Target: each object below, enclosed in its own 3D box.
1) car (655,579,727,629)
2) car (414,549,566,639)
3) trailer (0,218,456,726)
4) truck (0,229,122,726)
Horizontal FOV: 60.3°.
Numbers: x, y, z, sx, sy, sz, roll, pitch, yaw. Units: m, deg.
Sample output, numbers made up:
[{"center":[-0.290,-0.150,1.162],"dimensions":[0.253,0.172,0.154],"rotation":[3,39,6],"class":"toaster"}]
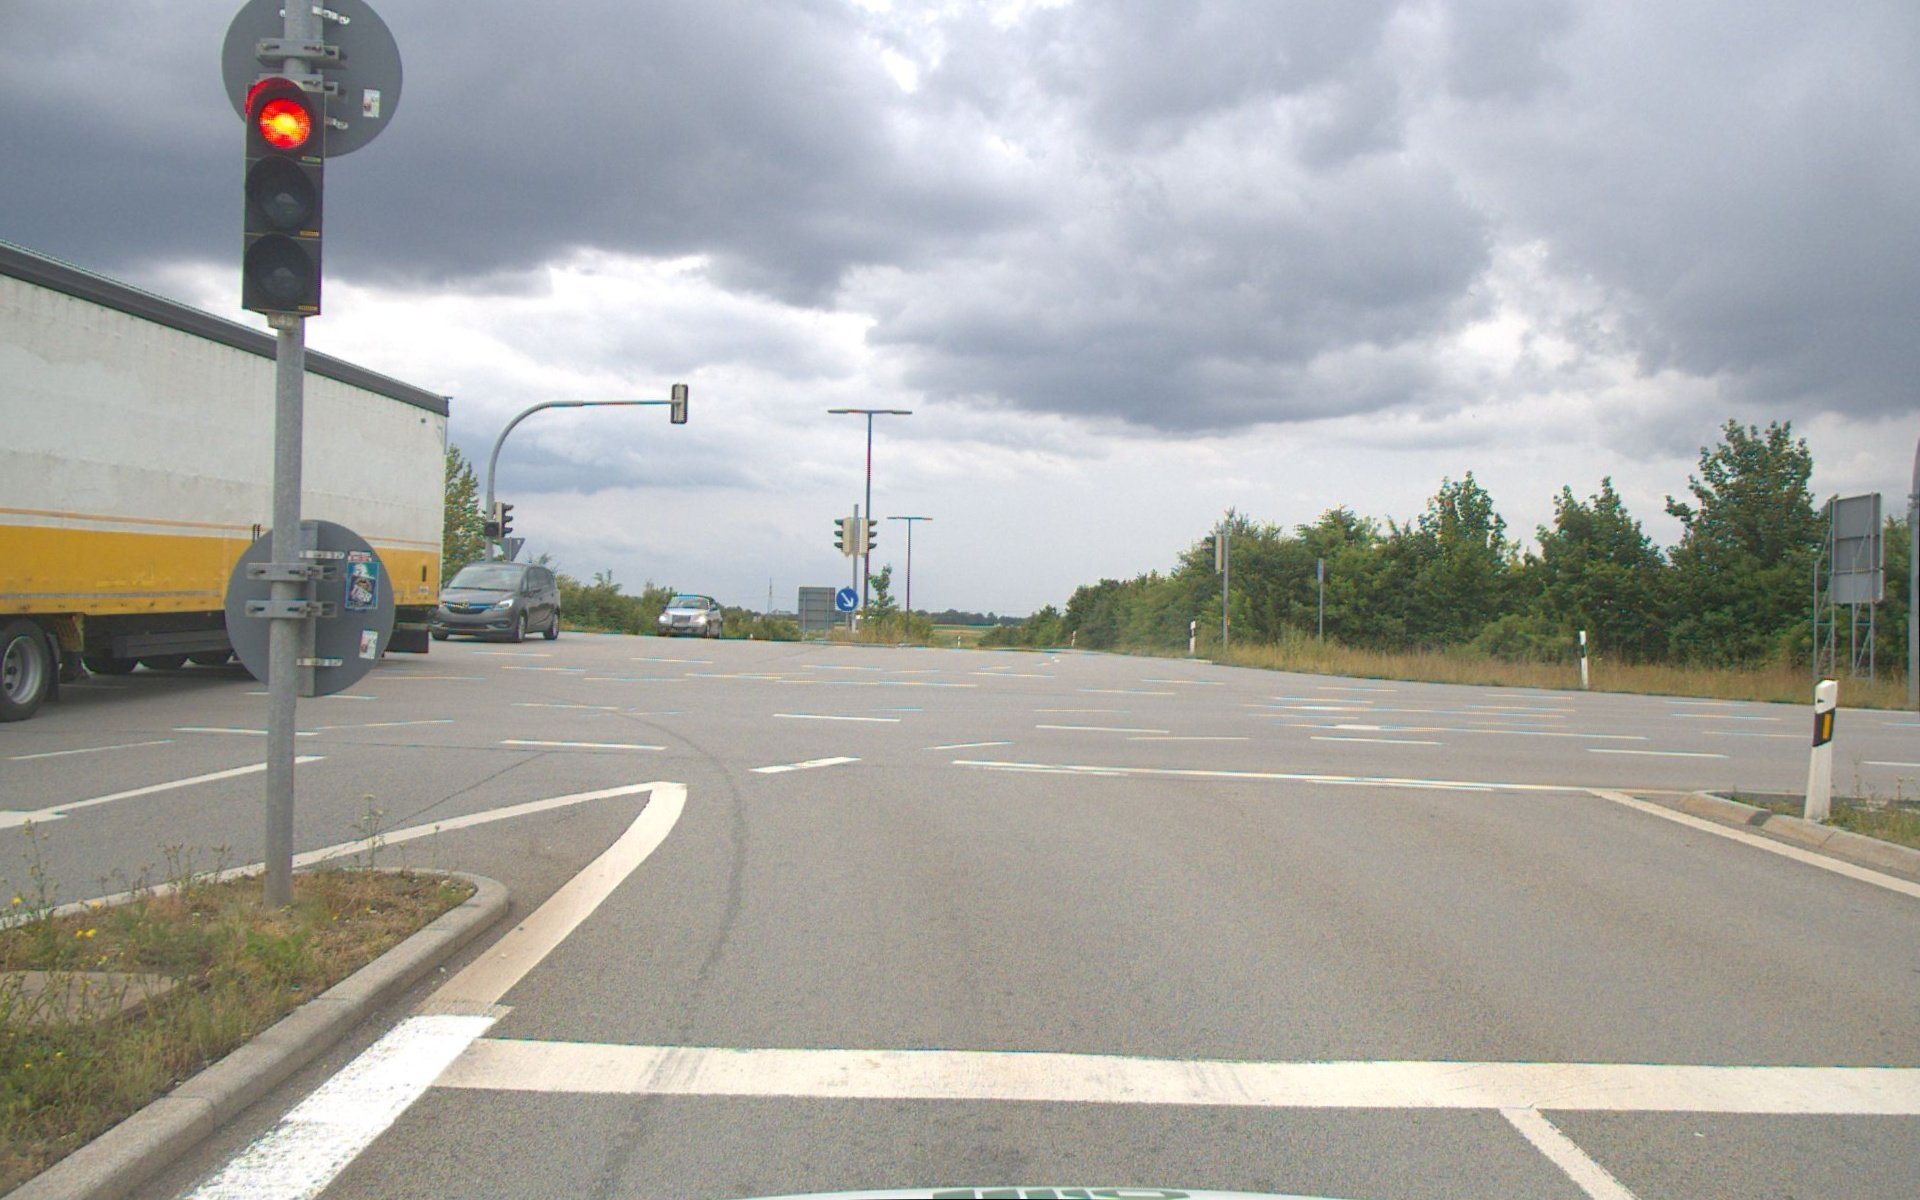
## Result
[{"center":[-9.131,0.099,56.370],"dimensions":[1.773,1.546,4.242],"rotation":[2,1,-1],"class":"car"},{"center":[-9.746,-0.106,34.663],"dimensions":[1.953,1.723,4.454],"rotation":[1,0,-1],"class":"car"},{"center":[-9.425,-1.071,19.465],"dimensions":[2.636,4.284,13.840],"rotation":[1,0,0],"class":"trailer"},{"center":[-9.470,-1.059,12.768],"dimensions":[2.595,4.214,6.403],"rotation":[1,0,1],"class":"truck"}]
